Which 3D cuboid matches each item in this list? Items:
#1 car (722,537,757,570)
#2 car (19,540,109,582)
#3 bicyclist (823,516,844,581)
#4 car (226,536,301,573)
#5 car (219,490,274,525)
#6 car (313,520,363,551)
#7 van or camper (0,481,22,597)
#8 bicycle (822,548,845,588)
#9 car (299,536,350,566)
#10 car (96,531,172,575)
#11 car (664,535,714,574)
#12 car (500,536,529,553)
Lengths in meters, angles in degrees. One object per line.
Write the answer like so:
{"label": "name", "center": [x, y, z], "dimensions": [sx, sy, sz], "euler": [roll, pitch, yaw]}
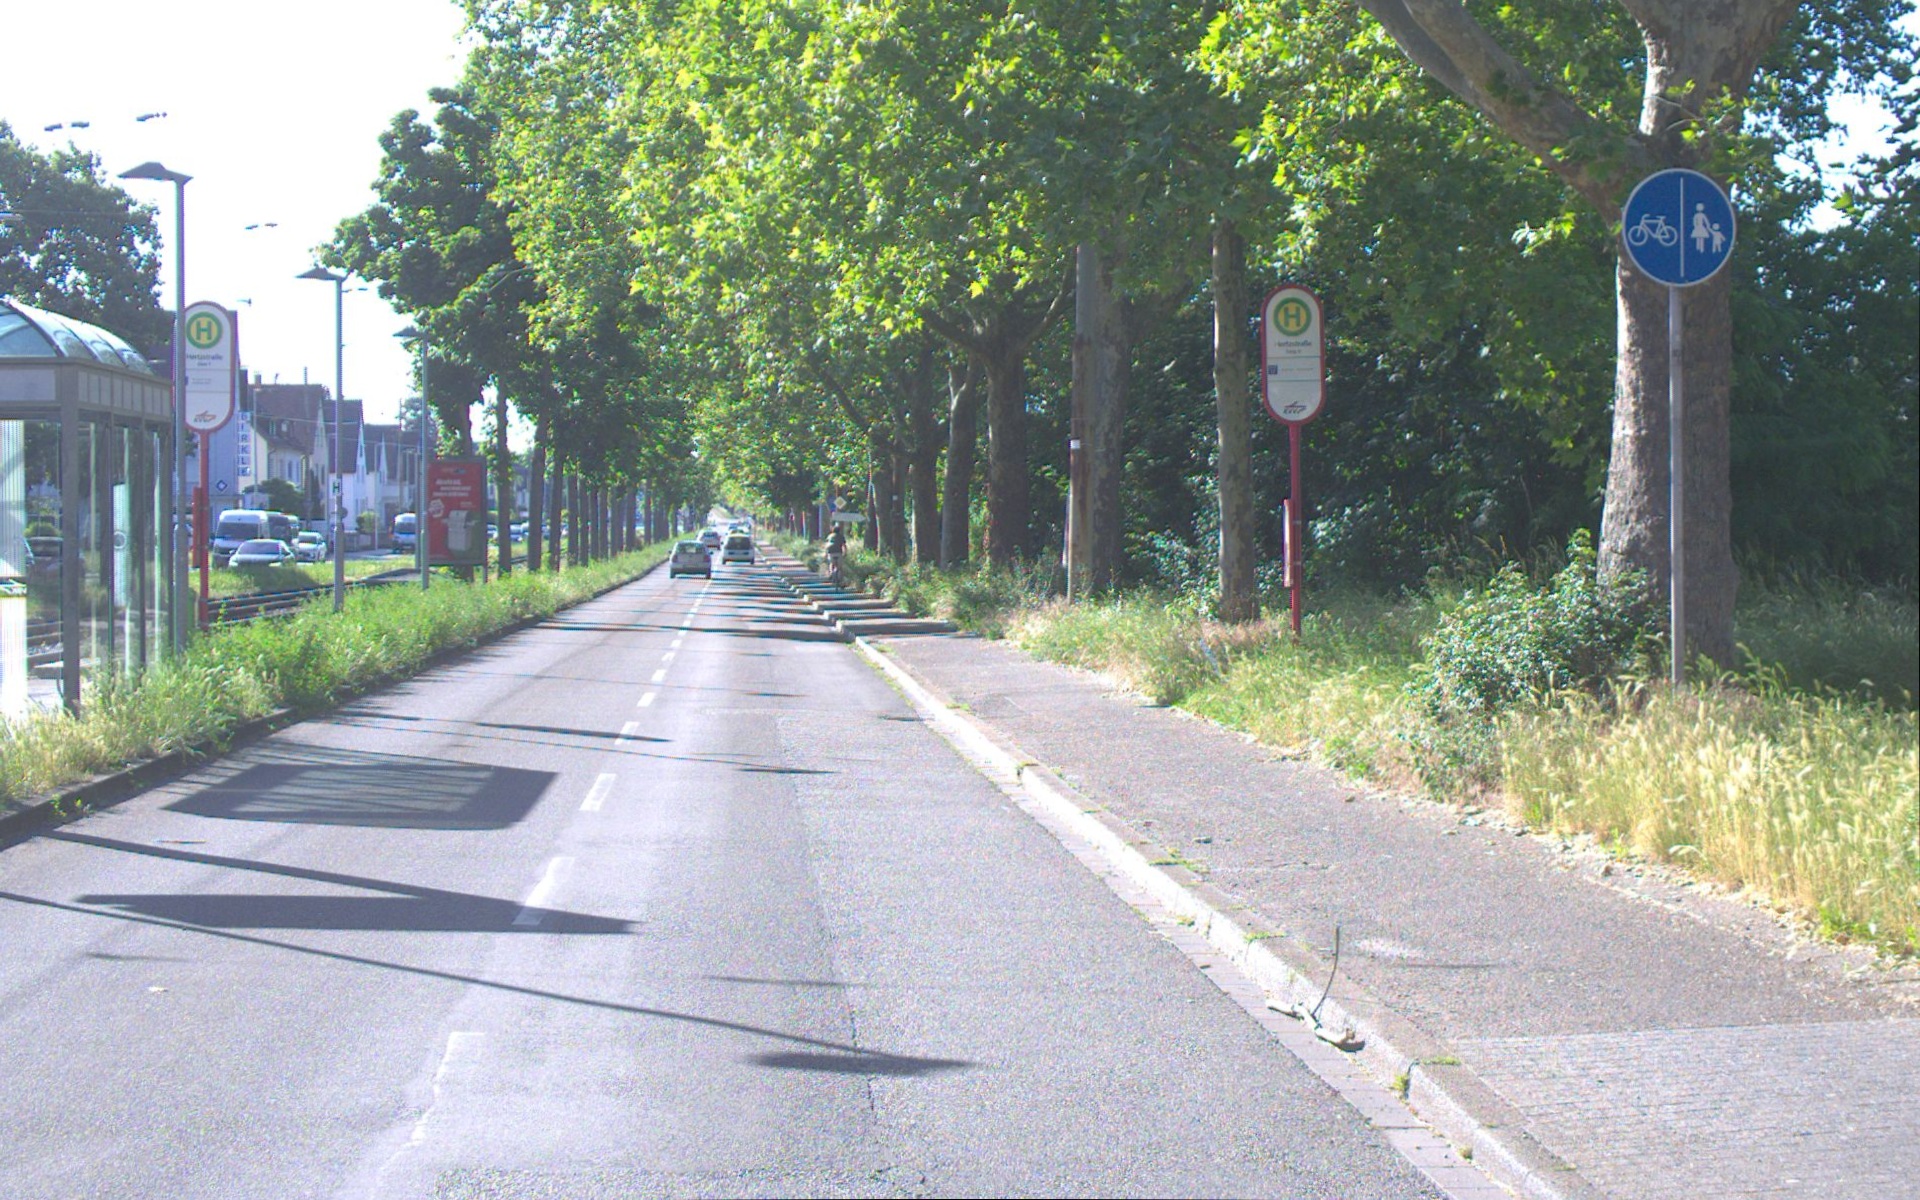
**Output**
{"label": "car", "center": [-11.269, -2.385, 175.797], "dimensions": [1.750, 1.599, 3.751], "euler": [1, 1, -3]}
{"label": "car", "center": [-27.499, -1.203, 105.614], "dimensions": [1.920, 1.262, 4.001], "euler": [0, 1, -3]}
{"label": "bicyclist", "center": [-3.434, -1.404, 93.271], "dimensions": [0.534, 1.763, 0.713], "euler": [0, 1, -5]}
{"label": "car", "center": [-24.074, -1.578, 118.887], "dimensions": [1.920, 1.262, 4.001], "euler": [0, 1, -2]}
{"label": "car", "center": [-30.918, -4.021, 149.092], "dimensions": [1.744, 1.491, 3.592], "euler": [0, 1, -2]}
{"label": "car", "center": [-33.011, -3.415, 182.570], "dimensions": [1.993, 1.637, 4.000], "euler": [0, 1, -1]}
{"label": "van or camper", "center": [-26.961, -1.618, 91.418], "dimensions": [2.589, 3.095, 6.789], "euler": [0, 1, -4]}
{"label": "bicycle", "center": [-3.423, -0.881, 93.171], "dimensions": [0.536, 1.062, 1.434], "euler": [0, 1, -5]}
{"label": "car", "center": [-31.298, -2.429, 169.307], "dimensions": [1.920, 1.433, 4.001], "euler": [0, 1, -2]}
{"label": "car", "center": [-29.741, -1.708, 123.847], "dimensions": [1.920, 1.571, 4.001], "euler": [0, 1, -2]}
{"label": "car", "center": [-10.584, -1.787, 134.297], "dimensions": [1.867, 1.481, 3.556], "euler": [1, 1, -3]}
{"label": "car", "center": [-32.918, -4.123, 254.088], "dimensions": [1.920, 1.262, 4.001], "euler": [0, 1, -4]}
